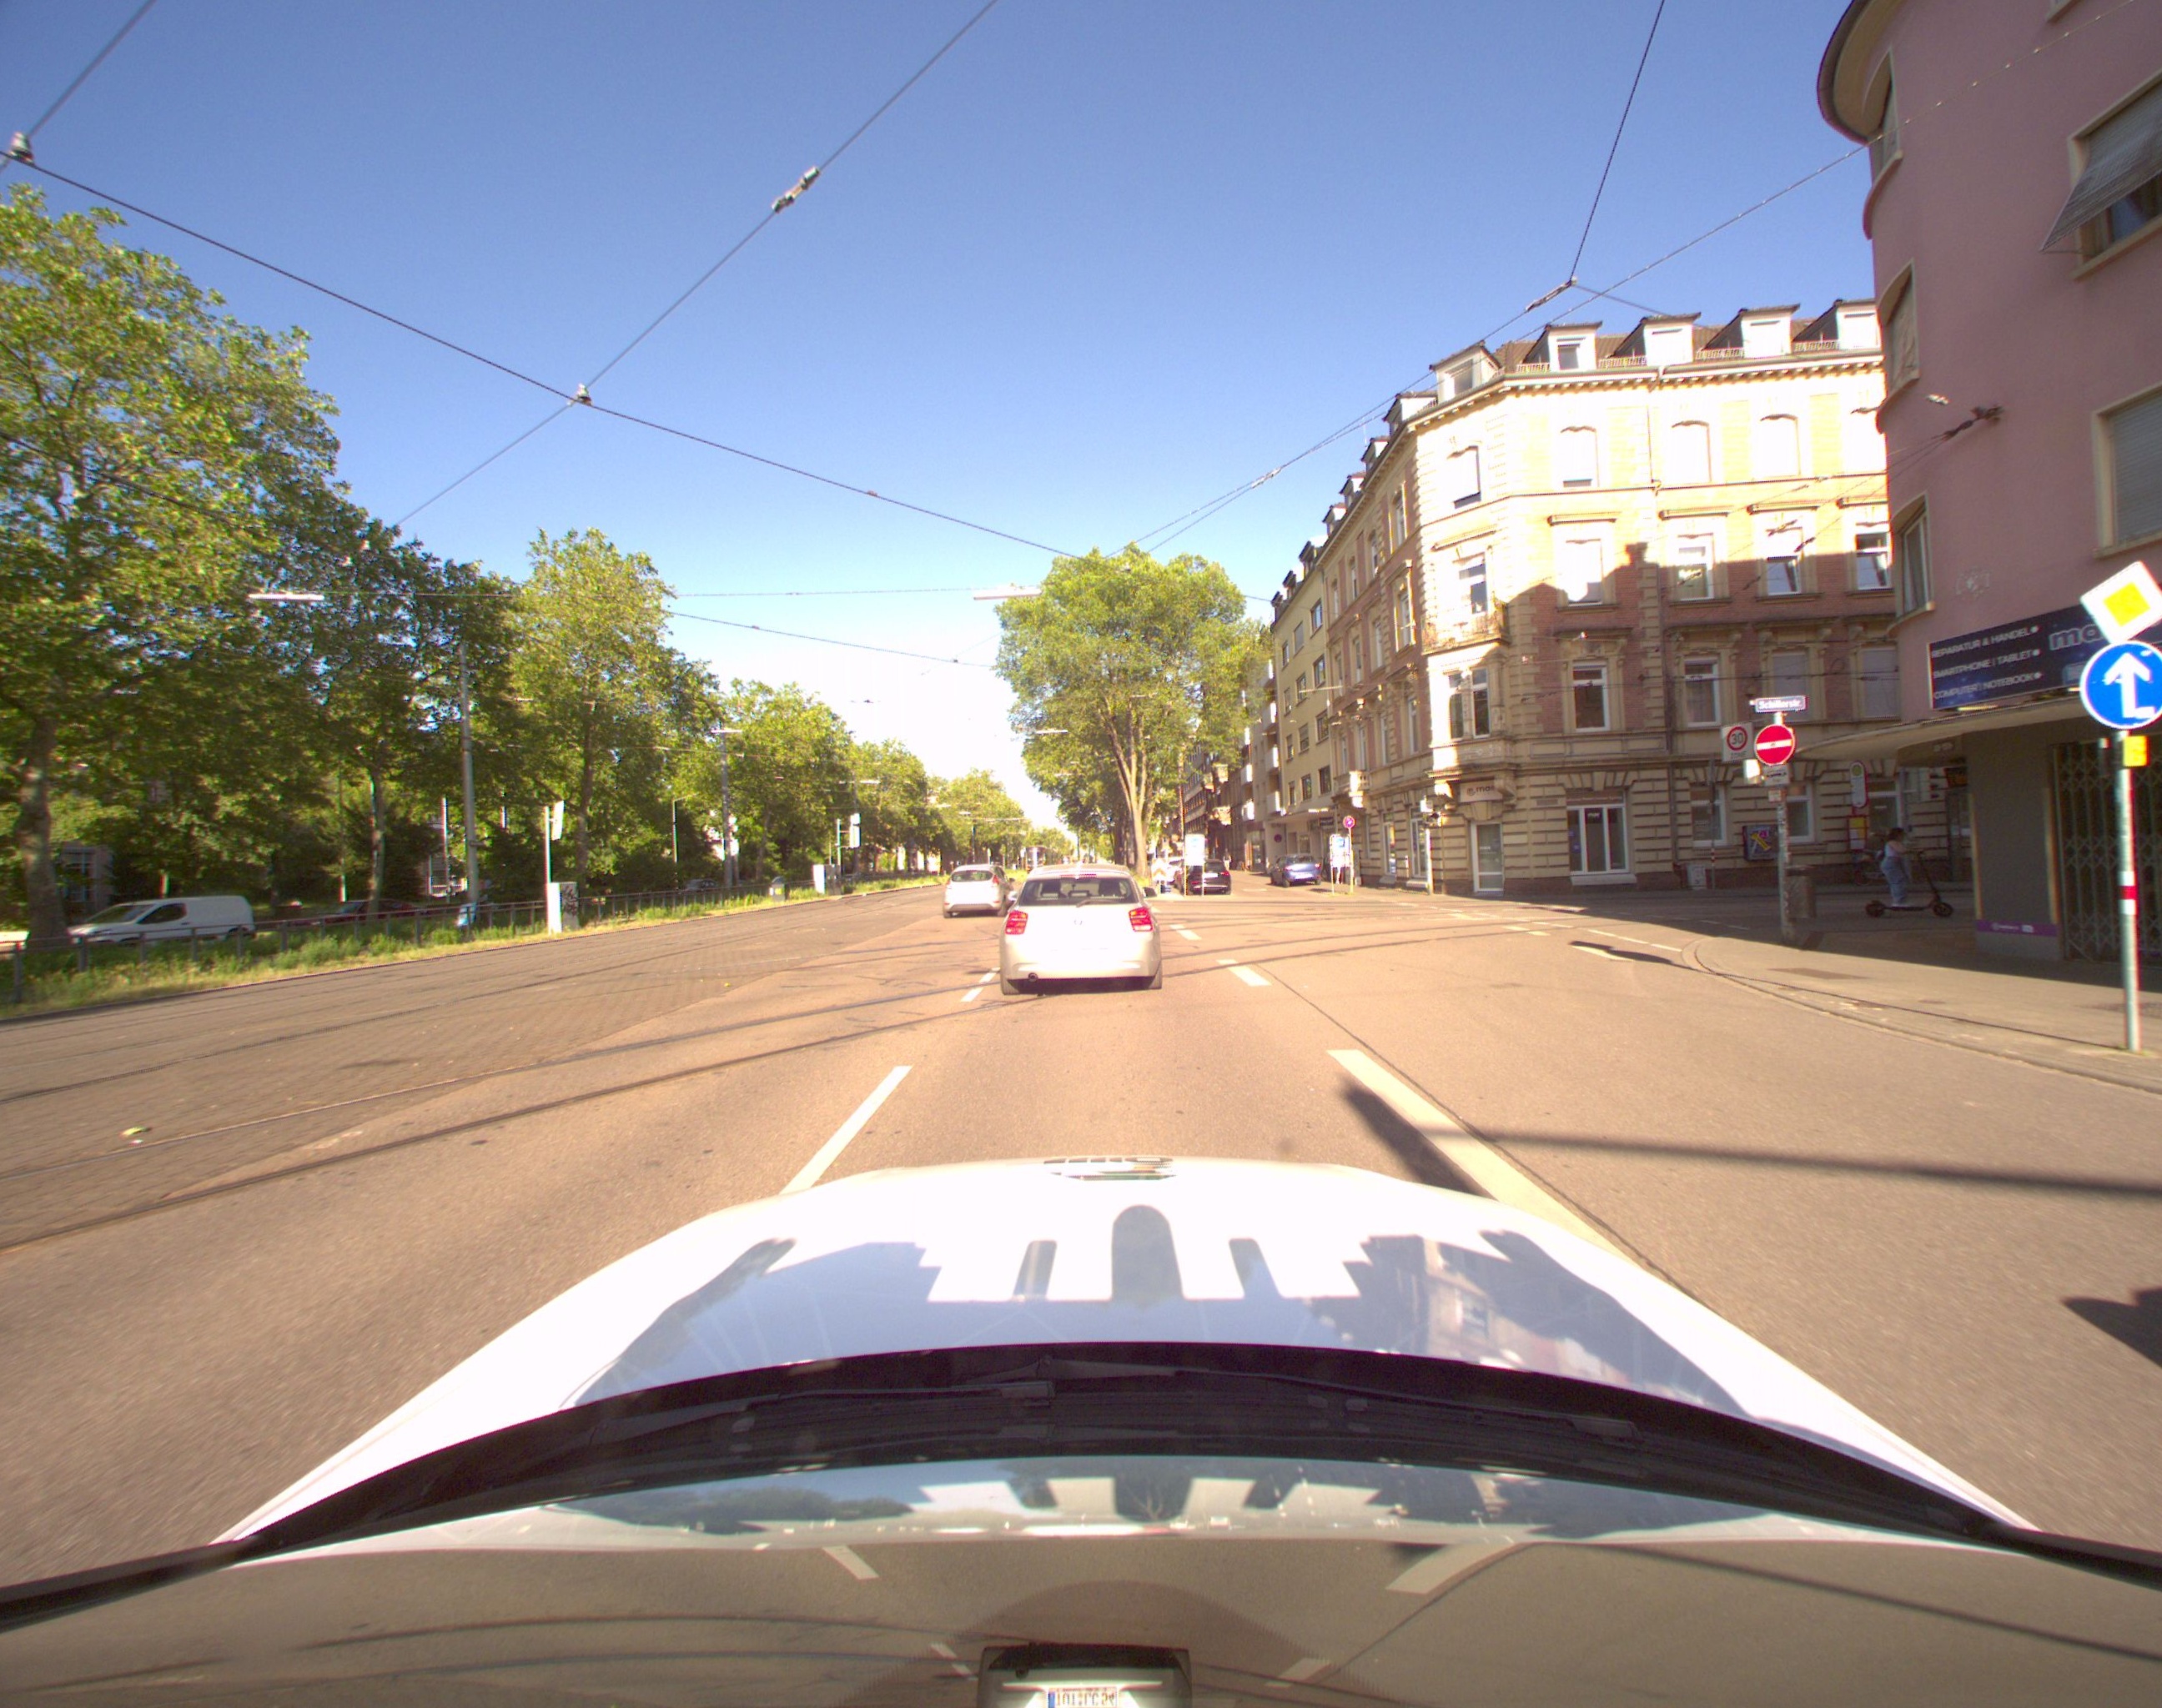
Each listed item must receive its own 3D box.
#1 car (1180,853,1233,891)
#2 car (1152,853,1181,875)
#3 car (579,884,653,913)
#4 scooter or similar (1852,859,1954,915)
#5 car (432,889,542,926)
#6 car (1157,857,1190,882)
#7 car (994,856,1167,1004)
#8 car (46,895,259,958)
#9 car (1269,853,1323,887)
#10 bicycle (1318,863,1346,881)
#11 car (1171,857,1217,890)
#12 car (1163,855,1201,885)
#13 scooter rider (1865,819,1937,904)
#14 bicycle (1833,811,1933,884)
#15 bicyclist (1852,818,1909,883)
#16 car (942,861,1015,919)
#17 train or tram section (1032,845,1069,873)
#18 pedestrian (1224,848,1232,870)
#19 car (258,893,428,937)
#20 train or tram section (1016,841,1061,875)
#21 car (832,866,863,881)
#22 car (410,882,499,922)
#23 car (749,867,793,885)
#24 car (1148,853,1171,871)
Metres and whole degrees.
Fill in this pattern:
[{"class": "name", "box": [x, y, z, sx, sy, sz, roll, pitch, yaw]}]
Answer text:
[{"class": "car", "box": [5.098, 0.709, 33.514, 1.729, 1.433, 3.679, -1, 0, 2]}, {"class": "car", "box": [5.981, 0.676, 57.401, 1.718, 1.507, 3.556, -1, 0, 1]}, {"class": "car", "box": [-27.985, 2.662, 49.205, 1.929, 1.509, 4.279, -2, -1, 1]}, {"class": "scooter or similar", "box": [15.163, 0.605, 15.049, 0.340, 0.988, 1.270, -2, 0, -35]}, {"class": "car", "box": [-27.720, 2.457, 38.200, 1.929, 1.509, 4.279, -2, -1, 1]}, {"class": "car", "box": [5.746, 0.939, 50.690, 1.718, 1.507, 3.556, -1, 0, 1]}, {"class": "car", "box": [0.082, 0.773, 10.205, 1.733, 1.467, 4.003, -1, 0, 2]}, {"class": "car", "box": [-28.028, 2.117, 24.821, 1.663, 1.509, 4.146, -2, 0, 1]}, {"class": "car", "box": [10.294, 0.757, 39.169, 1.729, 1.519, 3.638, -1, 0, 2]}, {"class": "bicycle", "box": [12.093, 0.856, 39.303, 0.752, 0.770, 1.946, -2, 0, 1]}, {"class": "car", "box": [5.330, 0.898, 38.835, 1.737, 1.433, 3.556, -1, 0, 1]}, {"class": "car", "box": [5.473, 0.847, 44.588, 1.718, 1.507, 3.556, -1, 0, 1]}, {"class": "scooter rider", "box": [15.138, 0.138, 15.039, 0.468, 1.505, 0.803, -2, 0, -32]}, {"class": "bicycle", "box": [23.288, -0.191, 23.673, 2.171, 2.013, 0.606, -2, -1, 2]}, {"class": "bicyclist", "box": [23.225, -0.096, 23.669, 0.852, 1.829, 0.750, -2, -1, 3]}, {"class": "car", "box": [-2.862, 0.960, 23.542, 1.604, 1.467, 3.888, -2, 0, -1]}, {"class": "train or tram section", "box": [-4.406, 0.765, 123.491, 3.989, 3.866, 17.500, -2, 0, 3]}, {"class": "pedestrian", "box": [12.698, 0.423, 70.414, 0.503, 1.802, 0.806, -2, 0, 2]}, {"class": "car", "box": [-27.691, 2.246, 30.840, 1.929, 1.349, 4.850, -2, -1, 1]}, {"class": "train or tram section", "box": [-5.353, 0.481, 106.073, 3.953, 3.866, 17.500, -2, 0, 3]}, {"class": "car", "box": [-25.970, 2.149, 90.791, 1.929, 1.509, 4.850, -2, 0, 1]}, {"class": "car", "box": [-36.313, 2.756, 47.337, 1.986, 2.013, 4.001, -2, 0, 1]}, {"class": "car", "box": [-27.341, 1.947, 71.986, 1.929, 1.509, 4.850, -2, -1, 1]}, {"class": "car", "box": [6.715, 0.663, 69.903, 1.718, 1.507, 3.556, -1, 0, 1]}]
